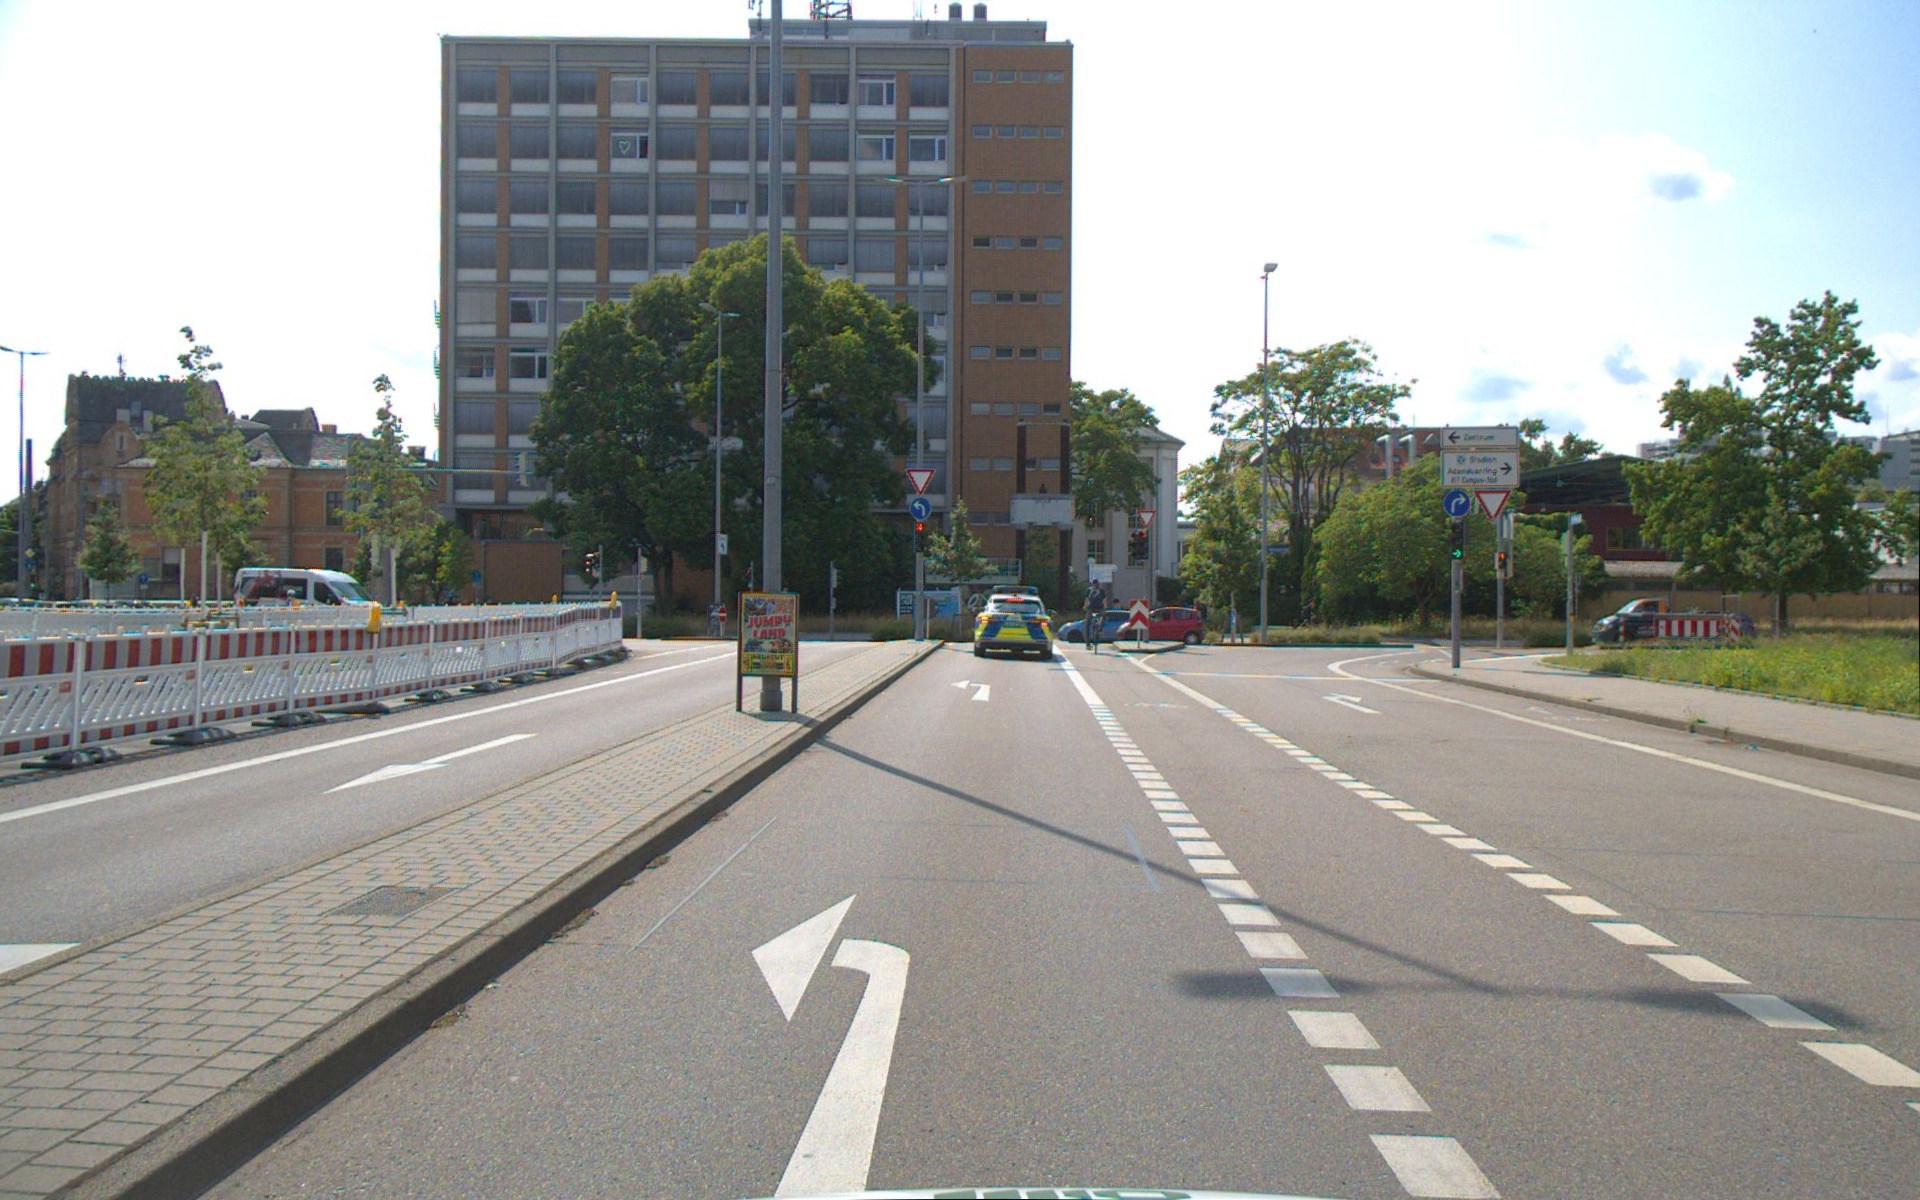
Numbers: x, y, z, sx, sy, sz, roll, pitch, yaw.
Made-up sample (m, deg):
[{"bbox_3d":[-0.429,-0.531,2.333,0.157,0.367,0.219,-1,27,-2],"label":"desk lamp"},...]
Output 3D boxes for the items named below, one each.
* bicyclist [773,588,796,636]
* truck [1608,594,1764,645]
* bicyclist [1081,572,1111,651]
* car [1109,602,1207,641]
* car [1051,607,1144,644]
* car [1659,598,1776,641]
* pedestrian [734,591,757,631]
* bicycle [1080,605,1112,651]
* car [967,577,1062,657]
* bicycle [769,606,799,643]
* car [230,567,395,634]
[{"bbox_3d":[-5.600,0.382,52.881,0.621,1.496,0.840,0,1,2],"label":"bicyclist"},{"bbox_3d":[26.978,0.716,61.614,5.006,1.870,2.002,0,0,10],"label":"truck"},{"bbox_3d":[3.508,0.284,42.709,0.703,2.008,0.839,0,1,1],"label":"bicyclist"},{"bbox_3d":[7.815,0.835,65.183,3.644,1.482,1.627,0,0,14],"label":"car"},{"bbox_3d":[5.692,1.042,68.478,3.644,1.482,1.627,0,0,14],"label":"car"},{"bbox_3d":[29.417,0.757,64.319,3.828,1.638,1.627,0,0,10],"label":"car"},{"bbox_3d":[-10.354,0.522,80.002,0.923,1.916,0.909,0,0,5],"label":"pedestrian"},{"bbox_3d":[3.507,0.715,42.722,0.706,1.103,2.191,0,1,1],"label":"bicycle"},{"bbox_3d":[1.277,0.381,39.168,2.086,1.713,4.103,2,0,1],"label":"car"},{"bbox_3d":[-5.605,0.780,52.825,0.621,1.103,2.191,0,1,2],"label":"bicycle"},{"bbox_3d":[-23.533,0.020,60.153,5.455,2.359,2.302,0,0,20],"label":"car"}]
